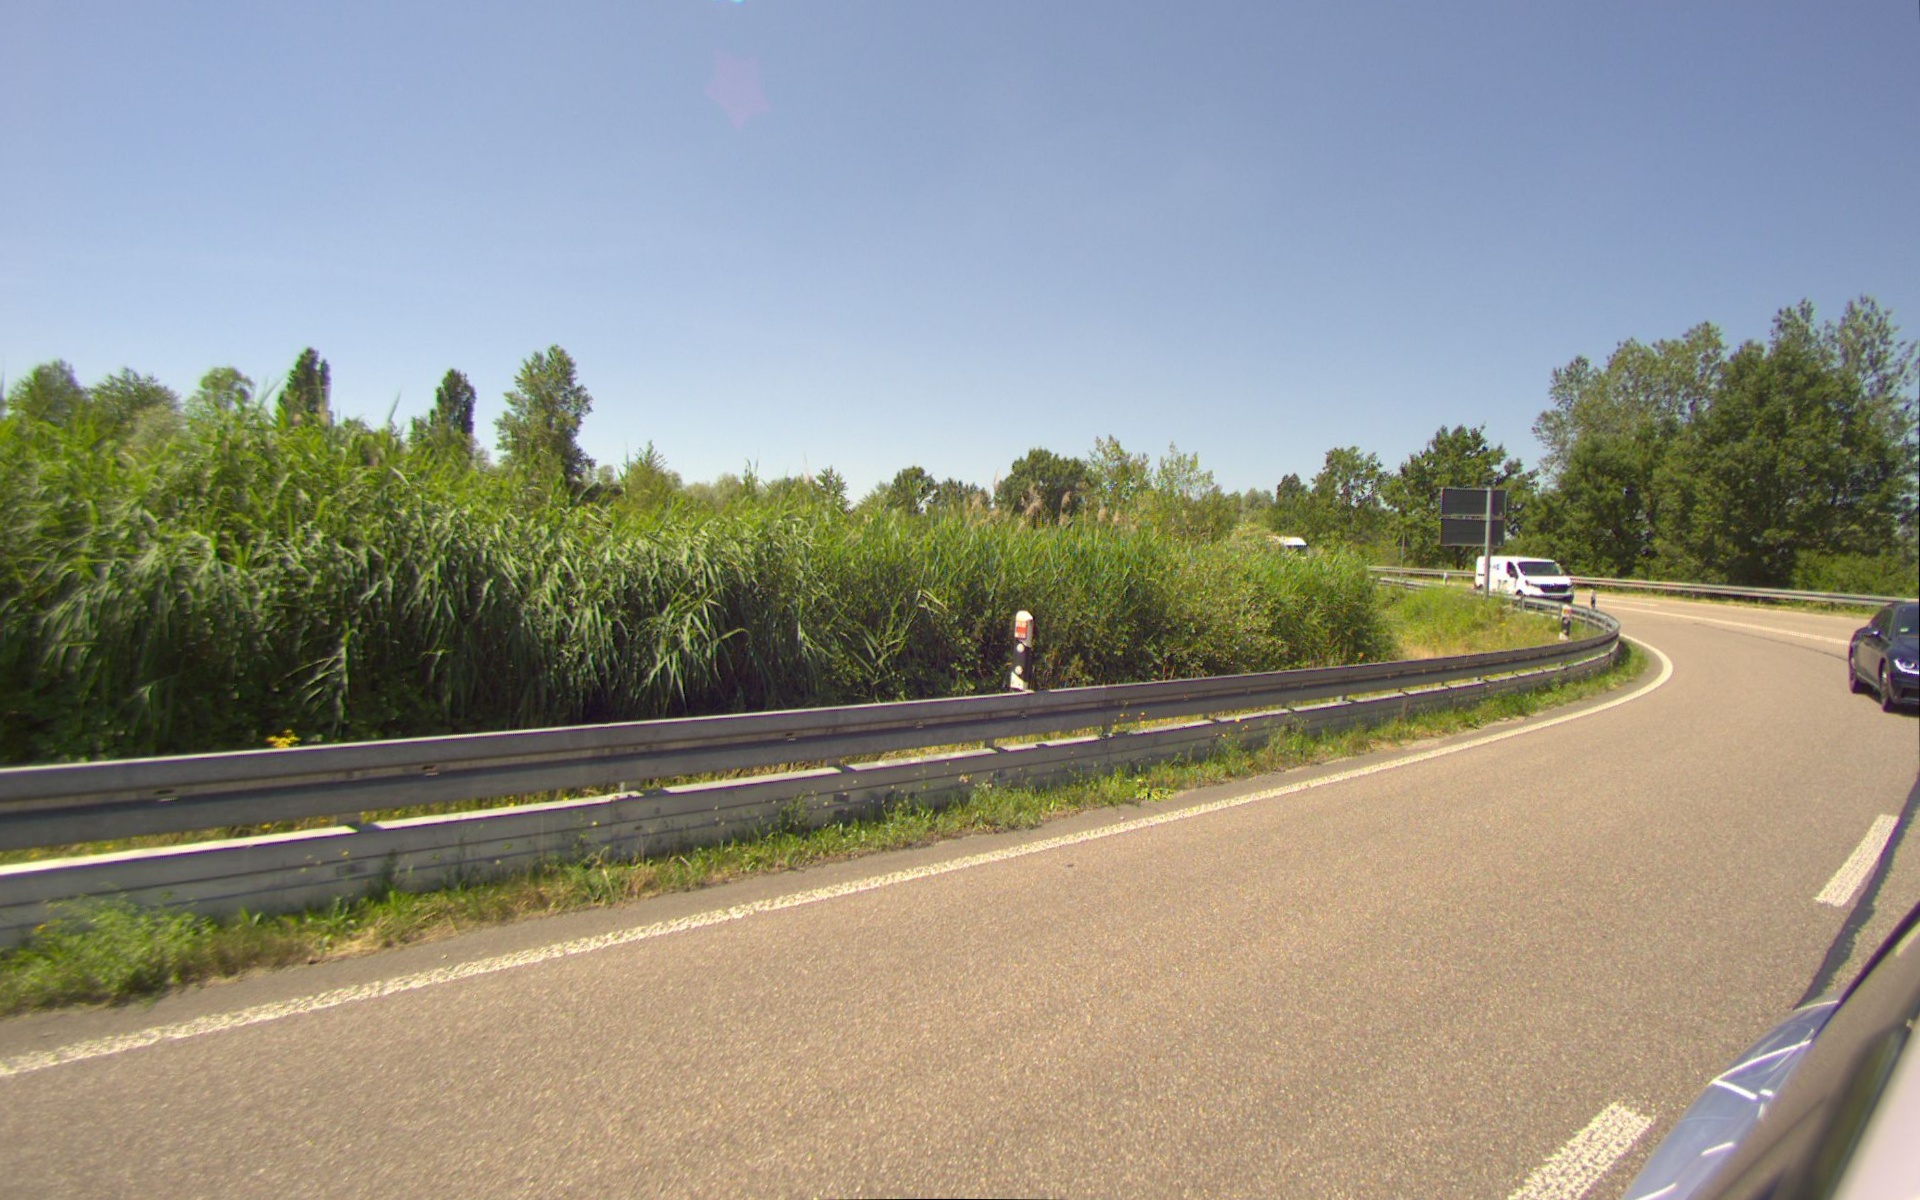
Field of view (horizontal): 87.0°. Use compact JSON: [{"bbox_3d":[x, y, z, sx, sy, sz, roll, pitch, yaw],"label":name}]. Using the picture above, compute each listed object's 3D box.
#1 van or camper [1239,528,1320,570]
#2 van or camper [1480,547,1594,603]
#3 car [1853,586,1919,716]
[{"bbox_3d":[21.100,-3.385,67.174,2.032,2.585,6.062,-2,3,-16],"label":"van or camper"},{"bbox_3d":[23.809,-1.113,42.034,1.975,2.055,5.445,0,4,5],"label":"van or camper"},{"bbox_3d":[13.562,0.591,13.631,1.833,1.448,4.477,-1,2,36],"label":"car"}]
